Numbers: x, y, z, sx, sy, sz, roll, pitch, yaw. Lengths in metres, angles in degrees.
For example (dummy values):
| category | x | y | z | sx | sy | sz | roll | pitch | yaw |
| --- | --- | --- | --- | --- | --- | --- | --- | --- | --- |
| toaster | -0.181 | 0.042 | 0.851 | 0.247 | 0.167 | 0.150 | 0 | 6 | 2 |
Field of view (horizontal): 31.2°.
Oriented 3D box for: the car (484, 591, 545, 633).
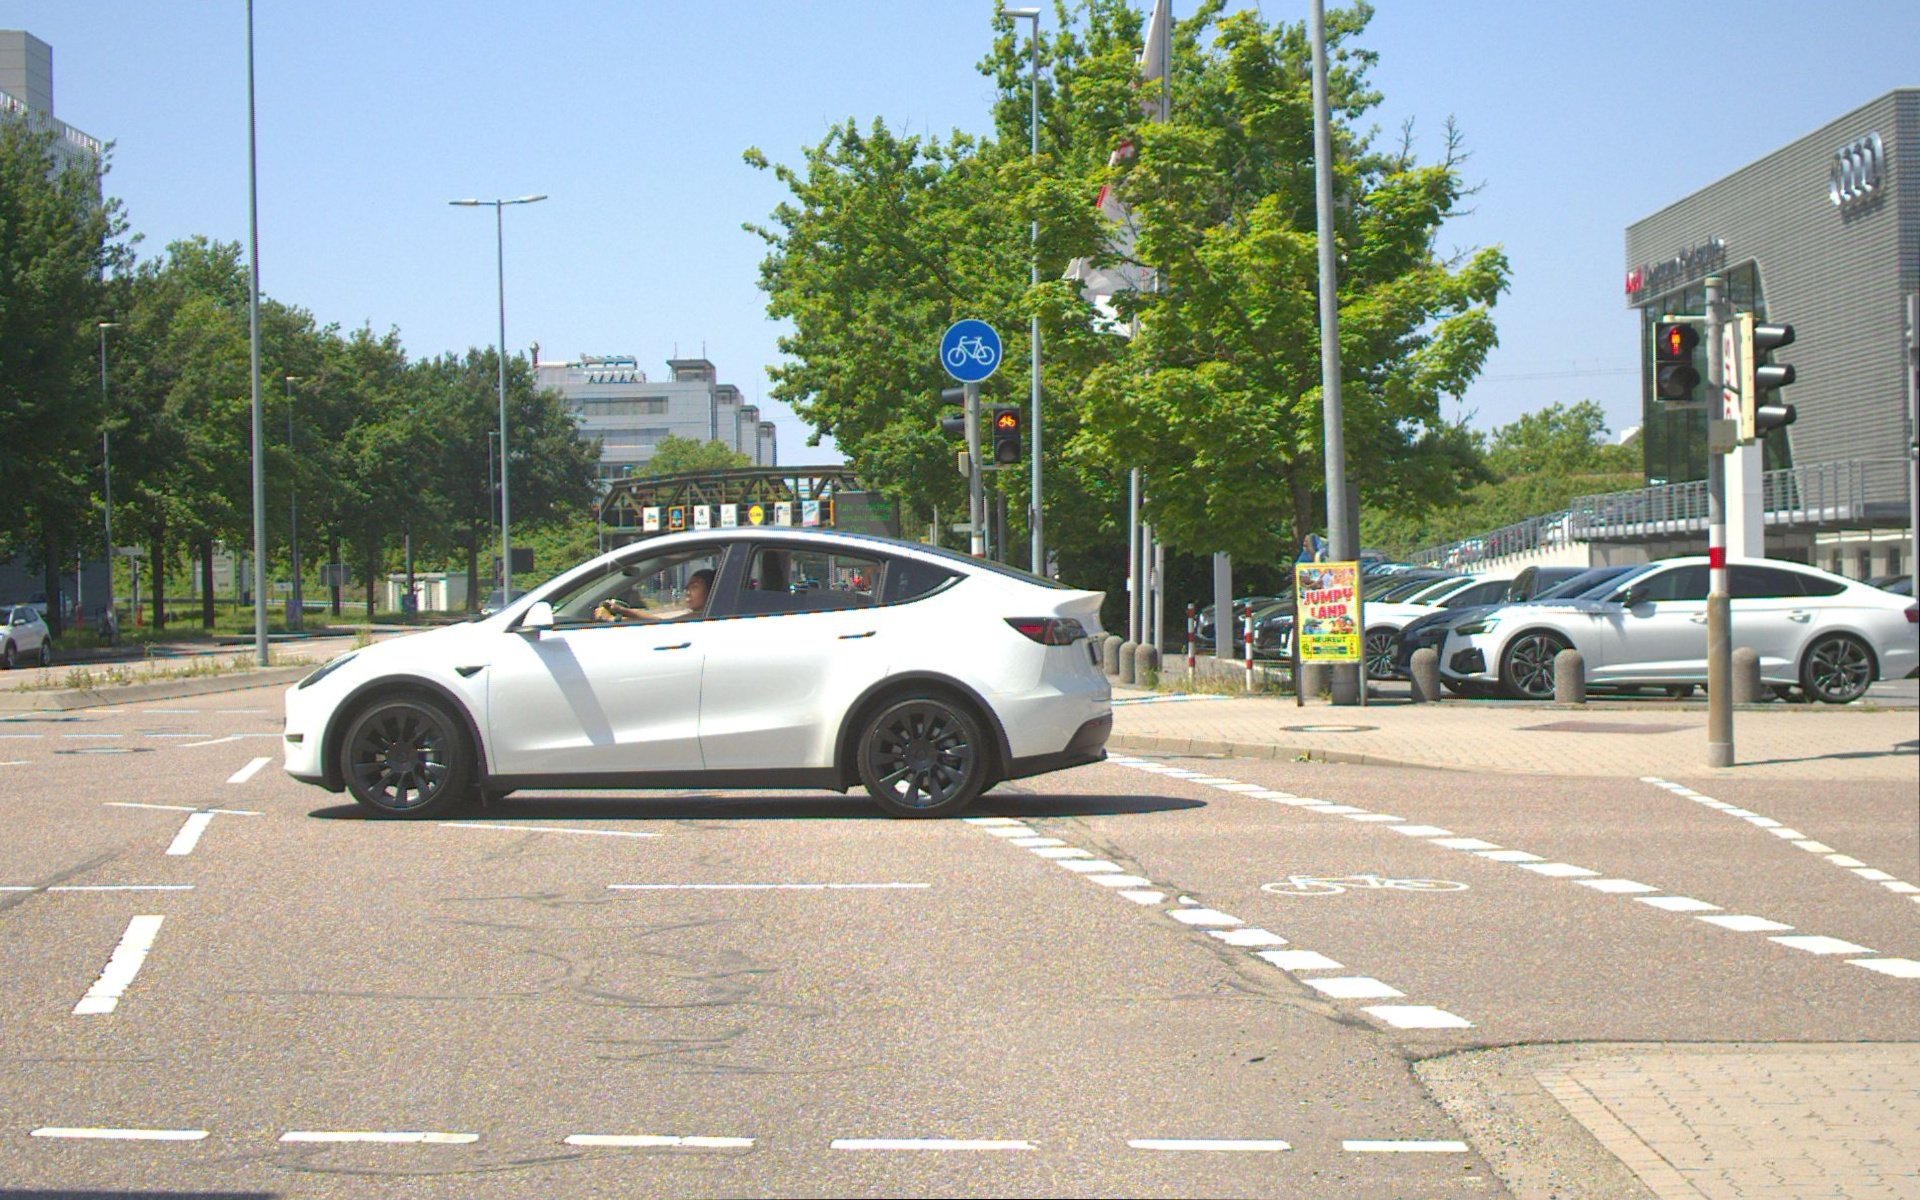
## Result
| category | x | y | z | sx | sy | sz | roll | pitch | yaw |
| --- | --- | --- | --- | --- | --- | --- | --- | --- | --- |
| car | -16.440 | 0.431 | 127.020 | 1.732 | 1.422 | 3.706 | -3 | 0 | -1 |

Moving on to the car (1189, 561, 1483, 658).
| category | x | y | z | sx | sy | sz | roll | pitch | yaw |
| --- | --- | --- | --- | --- | --- | --- | --- | --- | --- |
| car | 6.417 | 0.151 | 59.012 | 4.741 | 1.452 | 2.000 | -2 | 1 | -2 |

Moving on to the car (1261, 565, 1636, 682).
| category | x | y | z | sx | sy | sz | roll | pitch | yaw |
| --- | --- | --- | --- | --- | --- | --- | --- | --- | --- |
| car | 6.566 | 0.299 | 46.551 | 4.741 | 1.452 | 2.000 | -1 | 1 | -2 |

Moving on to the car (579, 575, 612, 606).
| category | x | y | z | sx | sy | sz | roll | pitch | yaw |
| --- | --- | --- | --- | --- | --- | --- | --- | --- | --- |
| car | -19.912 | -0.522 | 188.020 | 1.648 | 1.647 | 4.164 | -1 | 1 | -5 |

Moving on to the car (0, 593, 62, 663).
| category | x | y | z | sx | sy | sz | roll | pitch | yaw |
| --- | --- | --- | --- | --- | --- | --- | --- | --- | --- |
| car | -23.680 | 0.689 | 84.598 | 1.927 | 1.659 | 4.088 | -1 | 0 | 2 |

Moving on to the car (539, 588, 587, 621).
| category | x | y | z | sx | sy | sz | roll | pitch | yaw |
| --- | --- | --- | --- | --- | --- | --- | --- | --- | --- |
| car | -17.390 | 0.200 | 150.671 | 1.684 | 1.406 | 3.665 | -1 | 0 | -1 |

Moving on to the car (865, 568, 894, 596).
| category | x | y | z | sx | sy | sz | roll | pitch | yaw |
| --- | --- | --- | --- | --- | --- | --- | --- | --- | --- |
| car | -5.181 | -1.148 | 220.766 | 1.772 | 1.722 | 4.000 | -1 | 0 | -1 |

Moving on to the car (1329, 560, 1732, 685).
| category | x | y | z | sx | sy | sz | roll | pitch | yaw |
| --- | --- | --- | --- | --- | --- | --- | --- | --- | --- |
| car | 7.213 | 0.269 | 43.780 | 4.741 | 1.452 | 2.000 | -1 | 1 | -2 |

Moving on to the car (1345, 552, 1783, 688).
| category | x | y | z | sx | sy | sz | roll | pitch | yaw |
| --- | --- | --- | --- | --- | --- | --- | --- | --- | --- |
| car | 6.951 | 0.216 | 39.945 | 4.741 | 1.452 | 2.000 | -1 | 1 | 2 |

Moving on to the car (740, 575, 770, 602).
| category | x | y | z | sx | sy | sz | roll | pitch | yaw |
| --- | --- | --- | --- | --- | --- | --- | --- | --- | --- |
| car | -13.388 | -0.734 | 224.768 | 1.772 | 1.722 | 4.000 | -1 | 0 | -1 |

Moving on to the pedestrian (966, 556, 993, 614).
| category | x | y | z | sx | sy | sz | roll | pitch | yaw |
| --- | --- | --- | --- | --- | --- | --- | --- | --- | --- |
| pedestrian | 0.520 | -0.405 | 91.514 | 0.668 | 1.505 | 0.736 | -1 | 0 | -1 |

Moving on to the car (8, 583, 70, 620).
| category | x | y | z | sx | sy | sz | roll | pitch | yaw |
| --- | --- | --- | --- | --- | --- | --- | --- | --- | --- |
| car | -47.834 | 0.057 | 178.600 | 1.994 | 1.804 | 4.029 | 1 | 1 | 3 |

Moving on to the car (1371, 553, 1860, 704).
| category | x | y | z | sx | sy | sz | roll | pitch | yaw |
| --- | --- | --- | --- | --- | --- | --- | --- | --- | --- |
| car | 6.777 | 0.298 | 35.948 | 4.741 | 1.452 | 2.000 | -1 | 0 | 2 |

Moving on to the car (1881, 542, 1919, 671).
| category | x | y | z | sx | sy | sz | roll | pitch | yaw |
| --- | --- | --- | --- | --- | --- | --- | --- | --- | --- |
| car | 16.849 | 0.045 | 54.371 | 3.987 | 2.007 | 2.000 | -1 | 0 | 1 |

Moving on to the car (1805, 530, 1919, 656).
| category | x | y | z | sx | sy | sz | roll | pitch | yaw |
| --- | --- | --- | --- | --- | --- | --- | --- | --- | --- |
| car | 16.145 | -0.157 | 56.521 | 3.987 | 2.007 | 2.000 | -1 | 0 | 1 |

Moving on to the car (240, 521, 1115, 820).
| category | x | y | z | sx | sy | sz | roll | pitch | yaw |
| --- | --- | --- | --- | --- | --- | --- | --- | --- | --- |
| car | -1.513 | 0.389 | 19.587 | 4.680 | 1.583 | 2.000 | -1 | 0 | 5 |

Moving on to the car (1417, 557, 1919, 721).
| category | x | y | z | sx | sy | sz | roll | pitch | yaw |
| --- | --- | --- | --- | --- | --- | --- | --- | --- | --- |
| car | 6.923 | 0.354 | 33.280 | 4.741 | 1.452 | 2.000 | -1 | 1 | 2 |
